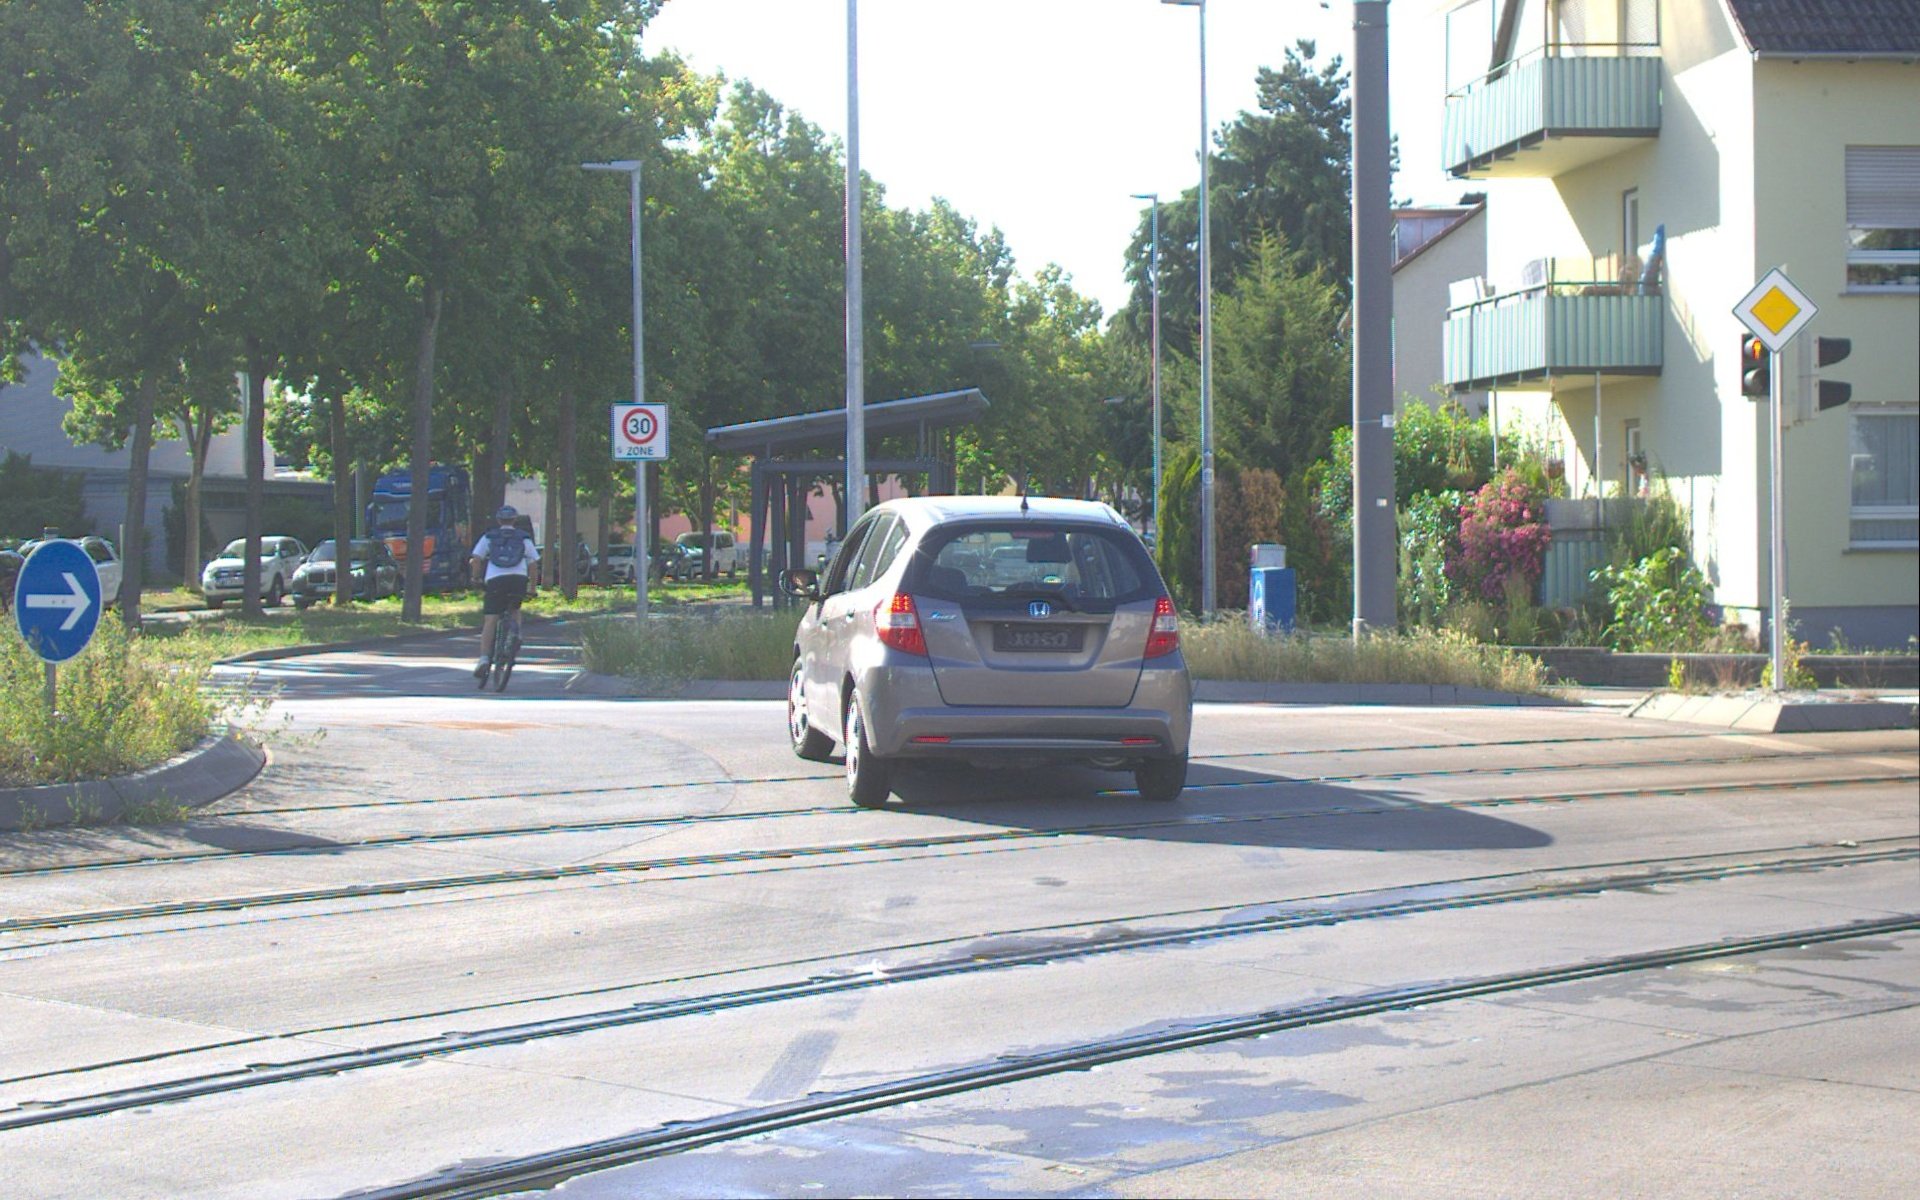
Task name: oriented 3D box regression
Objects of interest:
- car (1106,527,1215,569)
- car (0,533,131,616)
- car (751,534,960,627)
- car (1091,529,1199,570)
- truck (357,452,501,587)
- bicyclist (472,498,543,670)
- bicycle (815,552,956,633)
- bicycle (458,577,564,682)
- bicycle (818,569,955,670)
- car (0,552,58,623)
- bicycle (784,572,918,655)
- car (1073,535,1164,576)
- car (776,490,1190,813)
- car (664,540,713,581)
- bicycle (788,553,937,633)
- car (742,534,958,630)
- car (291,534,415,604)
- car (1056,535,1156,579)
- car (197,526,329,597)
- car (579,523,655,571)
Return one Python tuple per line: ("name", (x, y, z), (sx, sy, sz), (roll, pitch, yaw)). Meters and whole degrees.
("car", (6.628, -1.718, 113.672), (3.517, 1.291, 1.577), (1, 1, 1))
("car", (-19.196, -0.565, 73.153), (1.993, 1.694, 4.218), (1, 1, 1))
("car", (-1.795, -0.342, 59.840), (3.517, 1.528, 1.577), (1, 1, 2))
("car", (6.140, -1.693, 114.358), (3.517, 1.275, 1.577), (1, 1, 1))
("truck", (-16.476, -2.530, 107.290), (3.069, 3.979, 8.009), (1, 1, 1))
("bicyclist", (-4.579, -0.156, 34.793), (0.602, 1.708, 0.544), (0, -3, -19))
("bicycle", (-0.989, -0.105, 45.546), (1.840, 1.024, 0.689), (1, 1, -2))
("bicycle", (-4.542, 0.308, 34.729), (0.766, 1.033, 1.534), (0, -1, -19))
("bicycle", (-0.923, 0.238, 42.755), (1.665, 1.203, 0.689), (1, 1, -2))
("car", (-19.354, -0.273, 68.348), (1.961, 1.319, 4.001), (1, 1, -3))
("bicycle", (-1.393, 0.170, 44.030), (1.690, 1.024, 0.599), (1, 1, -2))
("car", (6.207, -1.740, 134.946), (3.517, 1.528, 1.577), (1, 1, 1))
("car", (0.012, 0.182, 18.325), (1.687, 1.485, 3.915), (-1, 2, -7))
("car", (-11.087, -1.631, 140.633), (1.647, 1.642, 3.569), (1, 1, 1))
("bicycle", (-1.318, -0.097, 46.444), (1.973, 1.024, 0.696), (1, 1, -2))
("car", (-1.841, -0.315, 58.079), (3.517, 1.528, 1.577), (1, 1, 2))
("car", (-14.316, -0.757, 81.312), (1.831, 1.575, 4.440), (1, 1, 4))
("car", (5.268, -1.563, 124.334), (3.517, 1.528, 1.577), (1, 1, 1))
("car", (-18.130, -1.016, 89.676), (1.994, 1.766, 5.059), (1, 1, 5))
("car", (-12.746, -1.976, 127.976), (1.994, 1.694, 4.217), (1, 1, 6))
